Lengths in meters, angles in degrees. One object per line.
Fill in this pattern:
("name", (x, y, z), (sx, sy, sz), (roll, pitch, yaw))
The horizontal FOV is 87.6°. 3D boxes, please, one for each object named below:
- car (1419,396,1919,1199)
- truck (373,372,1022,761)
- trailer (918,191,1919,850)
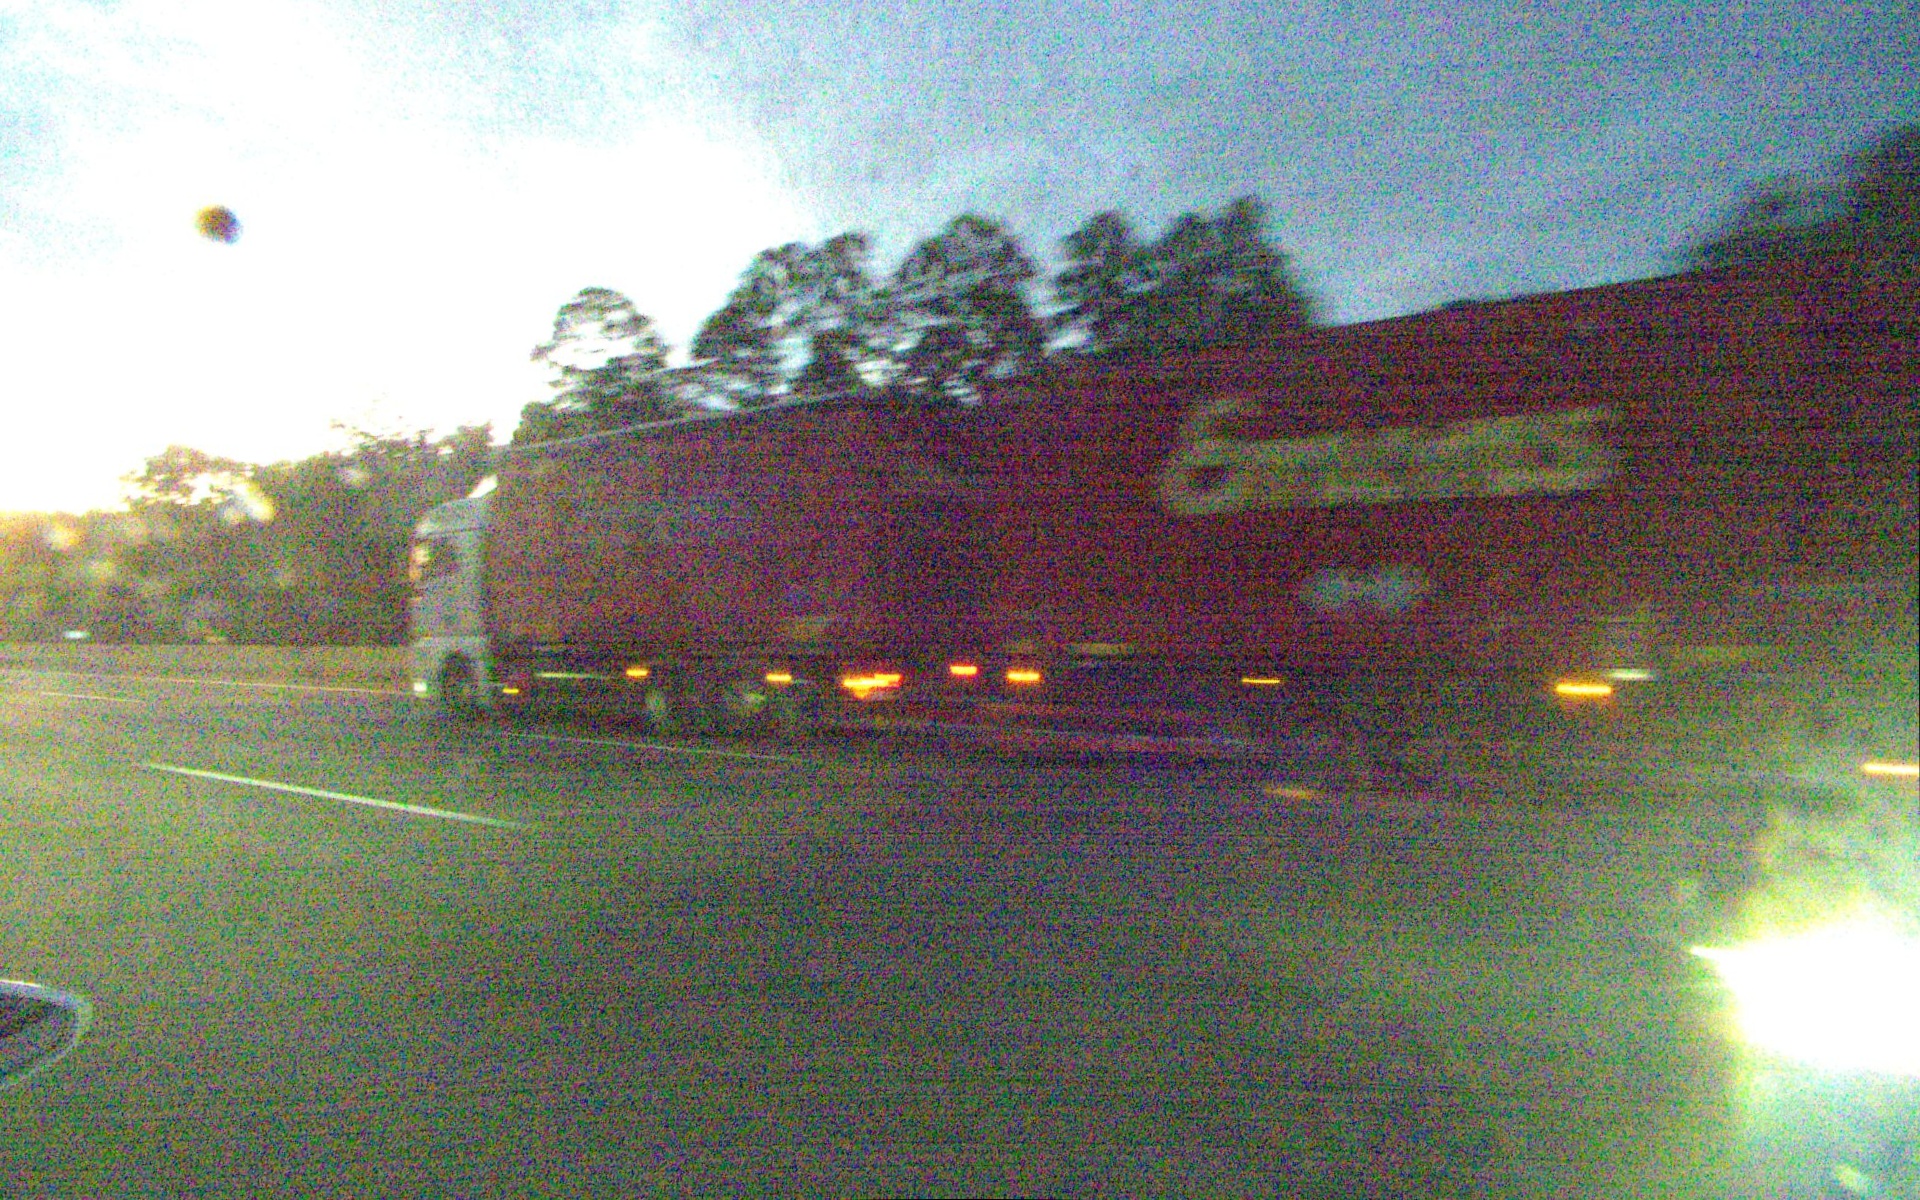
("car", (3.559, 0.471, 1.511), (4.982, 1.662, 1.902), (-4, -7, 32))
("truck", (-4.427, -0.269, 14.823), (10.678, 4.154, 2.879), (-1, -1, 33))
("trailer", (4.612, -0.442, 8.977), (10.211, 4.154, 2.901), (-1, -1, 33))
